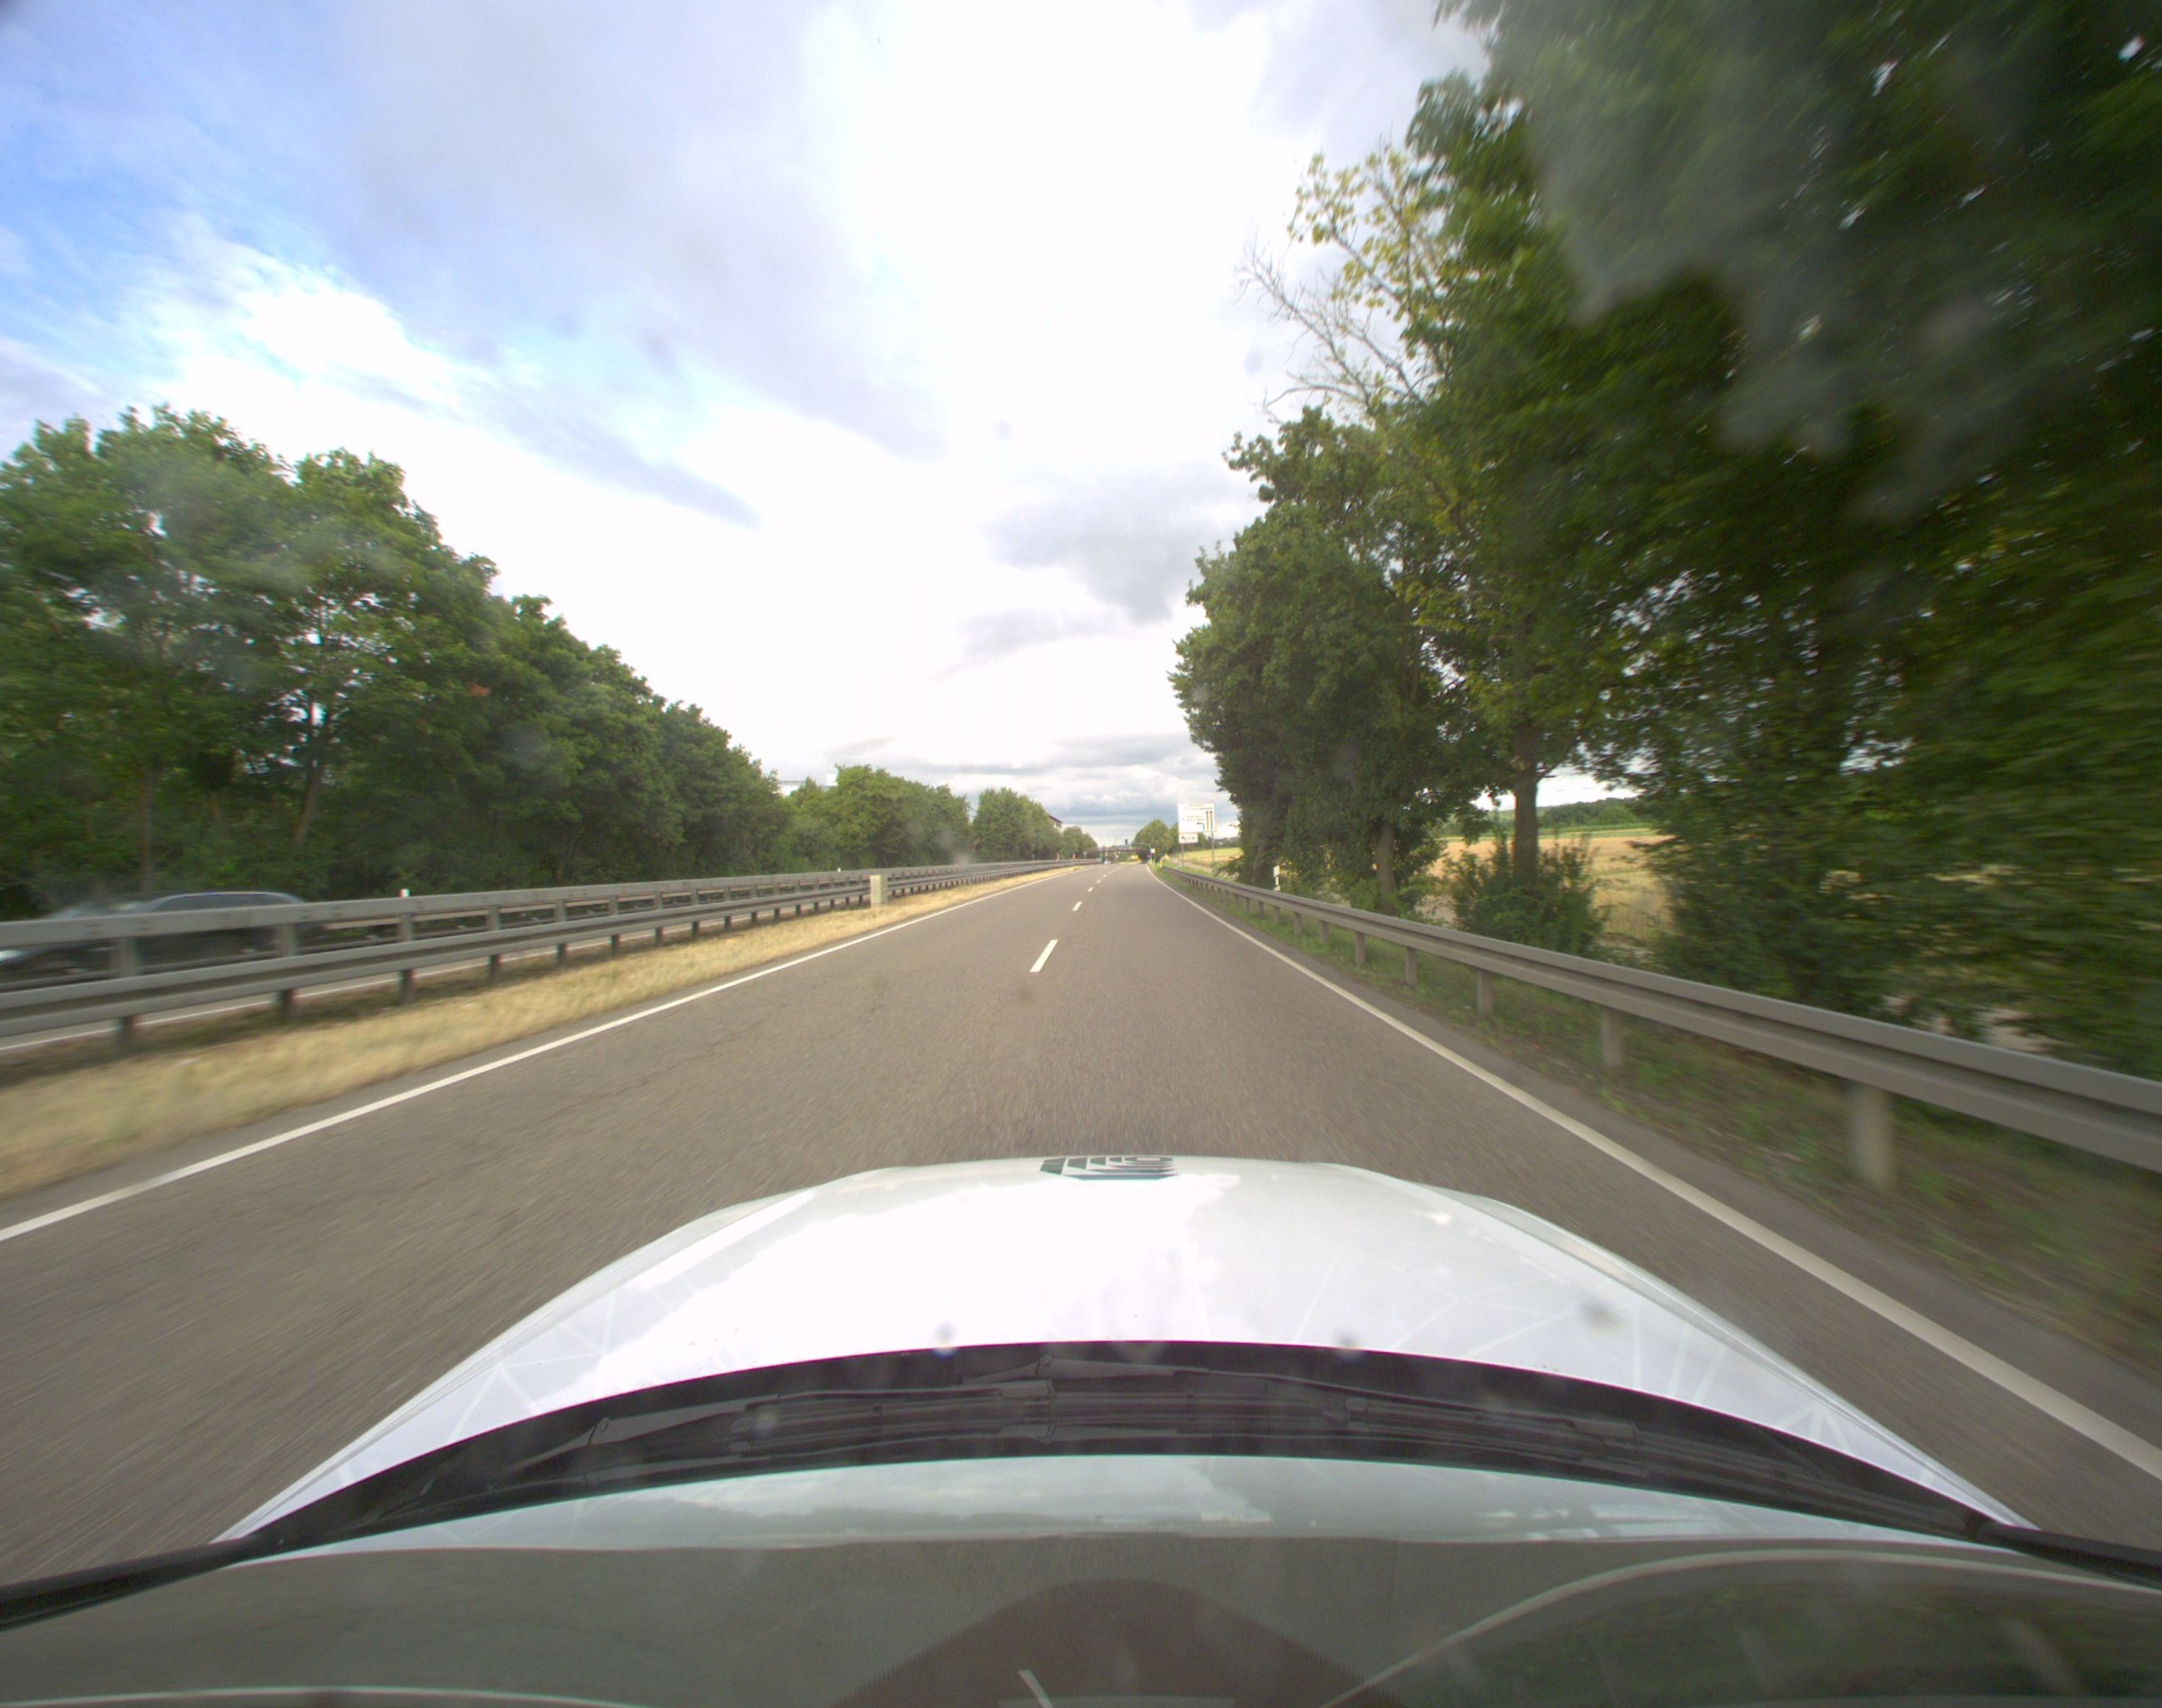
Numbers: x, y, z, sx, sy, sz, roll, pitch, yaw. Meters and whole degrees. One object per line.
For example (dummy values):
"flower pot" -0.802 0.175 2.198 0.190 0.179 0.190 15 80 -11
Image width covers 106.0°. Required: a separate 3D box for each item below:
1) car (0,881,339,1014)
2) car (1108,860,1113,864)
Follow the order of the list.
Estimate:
"car" -14.542 1.297 12.567 1.818 1.544 4.589 -3 0 2
"car" 9.071 2.493 253.654 1.351 1.092 2.926 -2 0 5
